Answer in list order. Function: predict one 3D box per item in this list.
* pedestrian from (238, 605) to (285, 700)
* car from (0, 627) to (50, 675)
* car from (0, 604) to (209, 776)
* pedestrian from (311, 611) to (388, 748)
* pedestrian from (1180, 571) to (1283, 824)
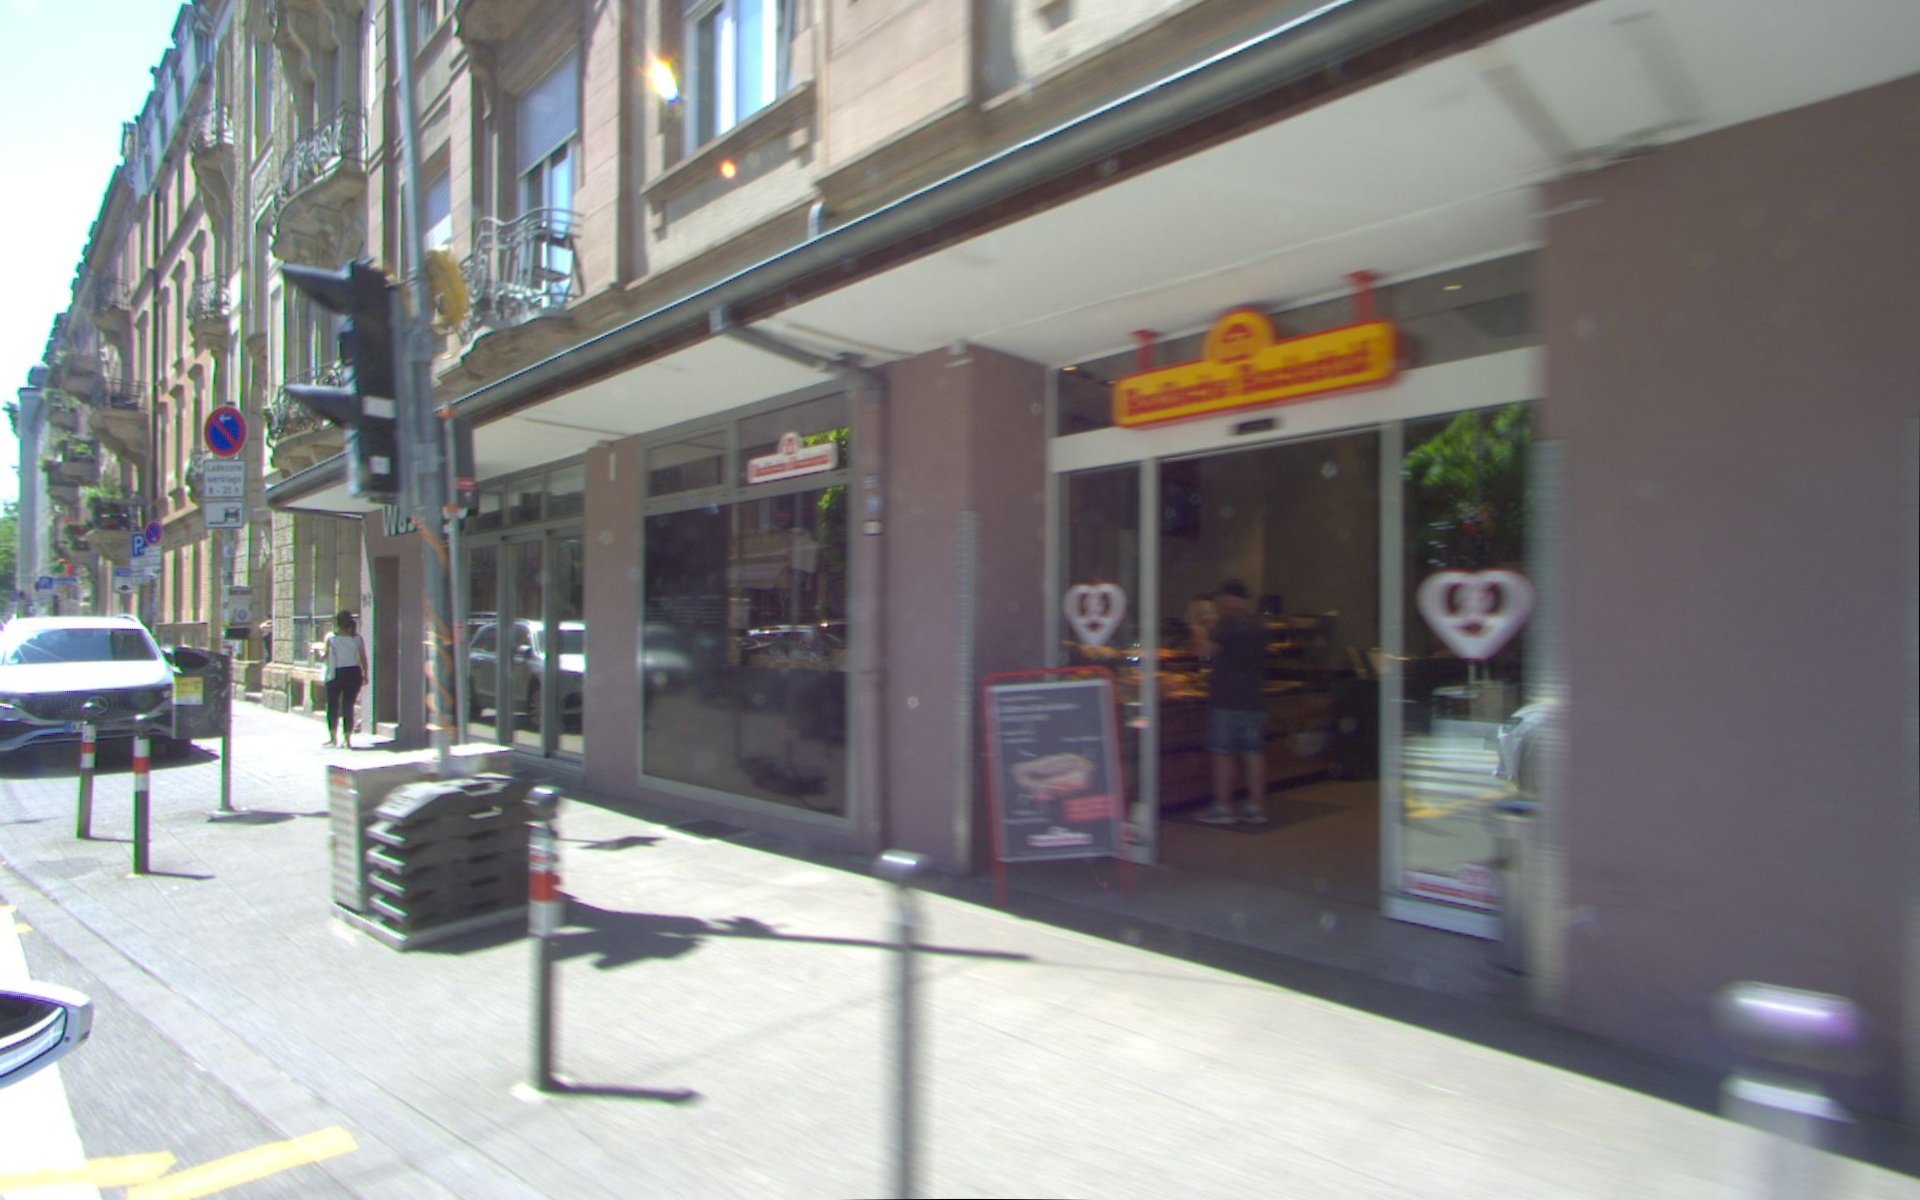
[{"bbox_3d":[-13.265,0.981,19.018,0.740,1.774,0.510,0,1,38],"label":"pedestrian"},{"bbox_3d":[-30.568,1.610,32.235,1.744,1.447,3.960,1,-2,-45],"label":"car"},{"bbox_3d":[-10.708,0.961,12.282,1.859,1.736,4.460,0,-1,-44],"label":"car"},{"bbox_3d":[-7.610,0.966,12.482,0.637,1.644,0.796,1,-1,-45],"label":"pedestrian"},{"bbox_3d":[1.830,0.645,6.781,0.543,1.649,0.450,1,-1,-5],"label":"pedestrian"}]
